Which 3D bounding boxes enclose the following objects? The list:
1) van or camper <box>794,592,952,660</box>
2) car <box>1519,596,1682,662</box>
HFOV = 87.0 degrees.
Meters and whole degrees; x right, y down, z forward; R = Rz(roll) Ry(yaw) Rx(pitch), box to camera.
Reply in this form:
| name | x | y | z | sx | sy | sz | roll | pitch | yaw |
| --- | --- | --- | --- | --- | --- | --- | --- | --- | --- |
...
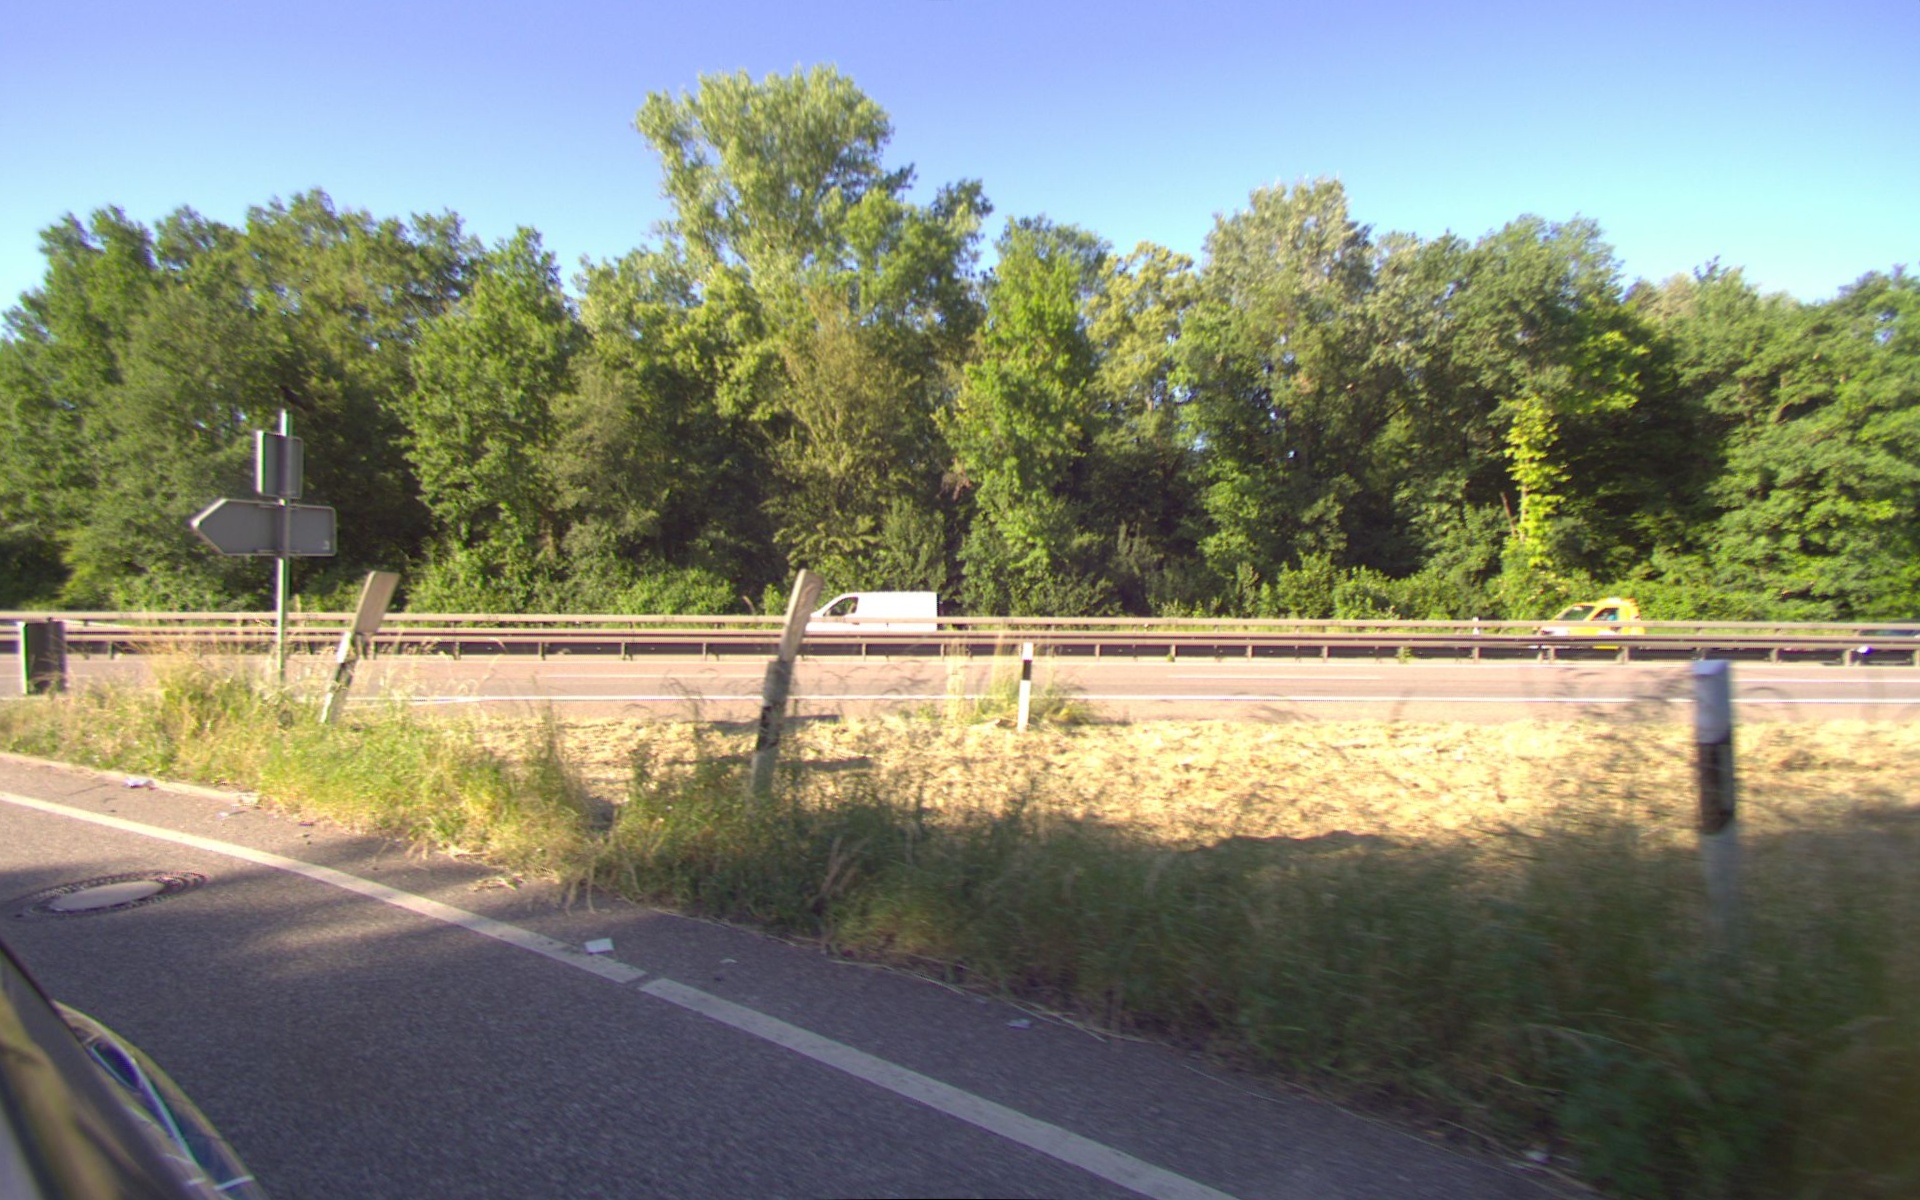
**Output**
| name | x | y | z | sx | sy | sz | roll | pitch | yaw |
| --- | --- | --- | --- | --- | --- | --- | --- | --- | --- |
| van or camper | -2.701 | 0.788 | 31.696 | 4.747 | 2.029 | 2.082 | 0 | -1 | -3 |
| car | 20.630 | 0.910 | 32.735 | 3.946 | 2.029 | 1.999 | 0 | -1 | 2 |
